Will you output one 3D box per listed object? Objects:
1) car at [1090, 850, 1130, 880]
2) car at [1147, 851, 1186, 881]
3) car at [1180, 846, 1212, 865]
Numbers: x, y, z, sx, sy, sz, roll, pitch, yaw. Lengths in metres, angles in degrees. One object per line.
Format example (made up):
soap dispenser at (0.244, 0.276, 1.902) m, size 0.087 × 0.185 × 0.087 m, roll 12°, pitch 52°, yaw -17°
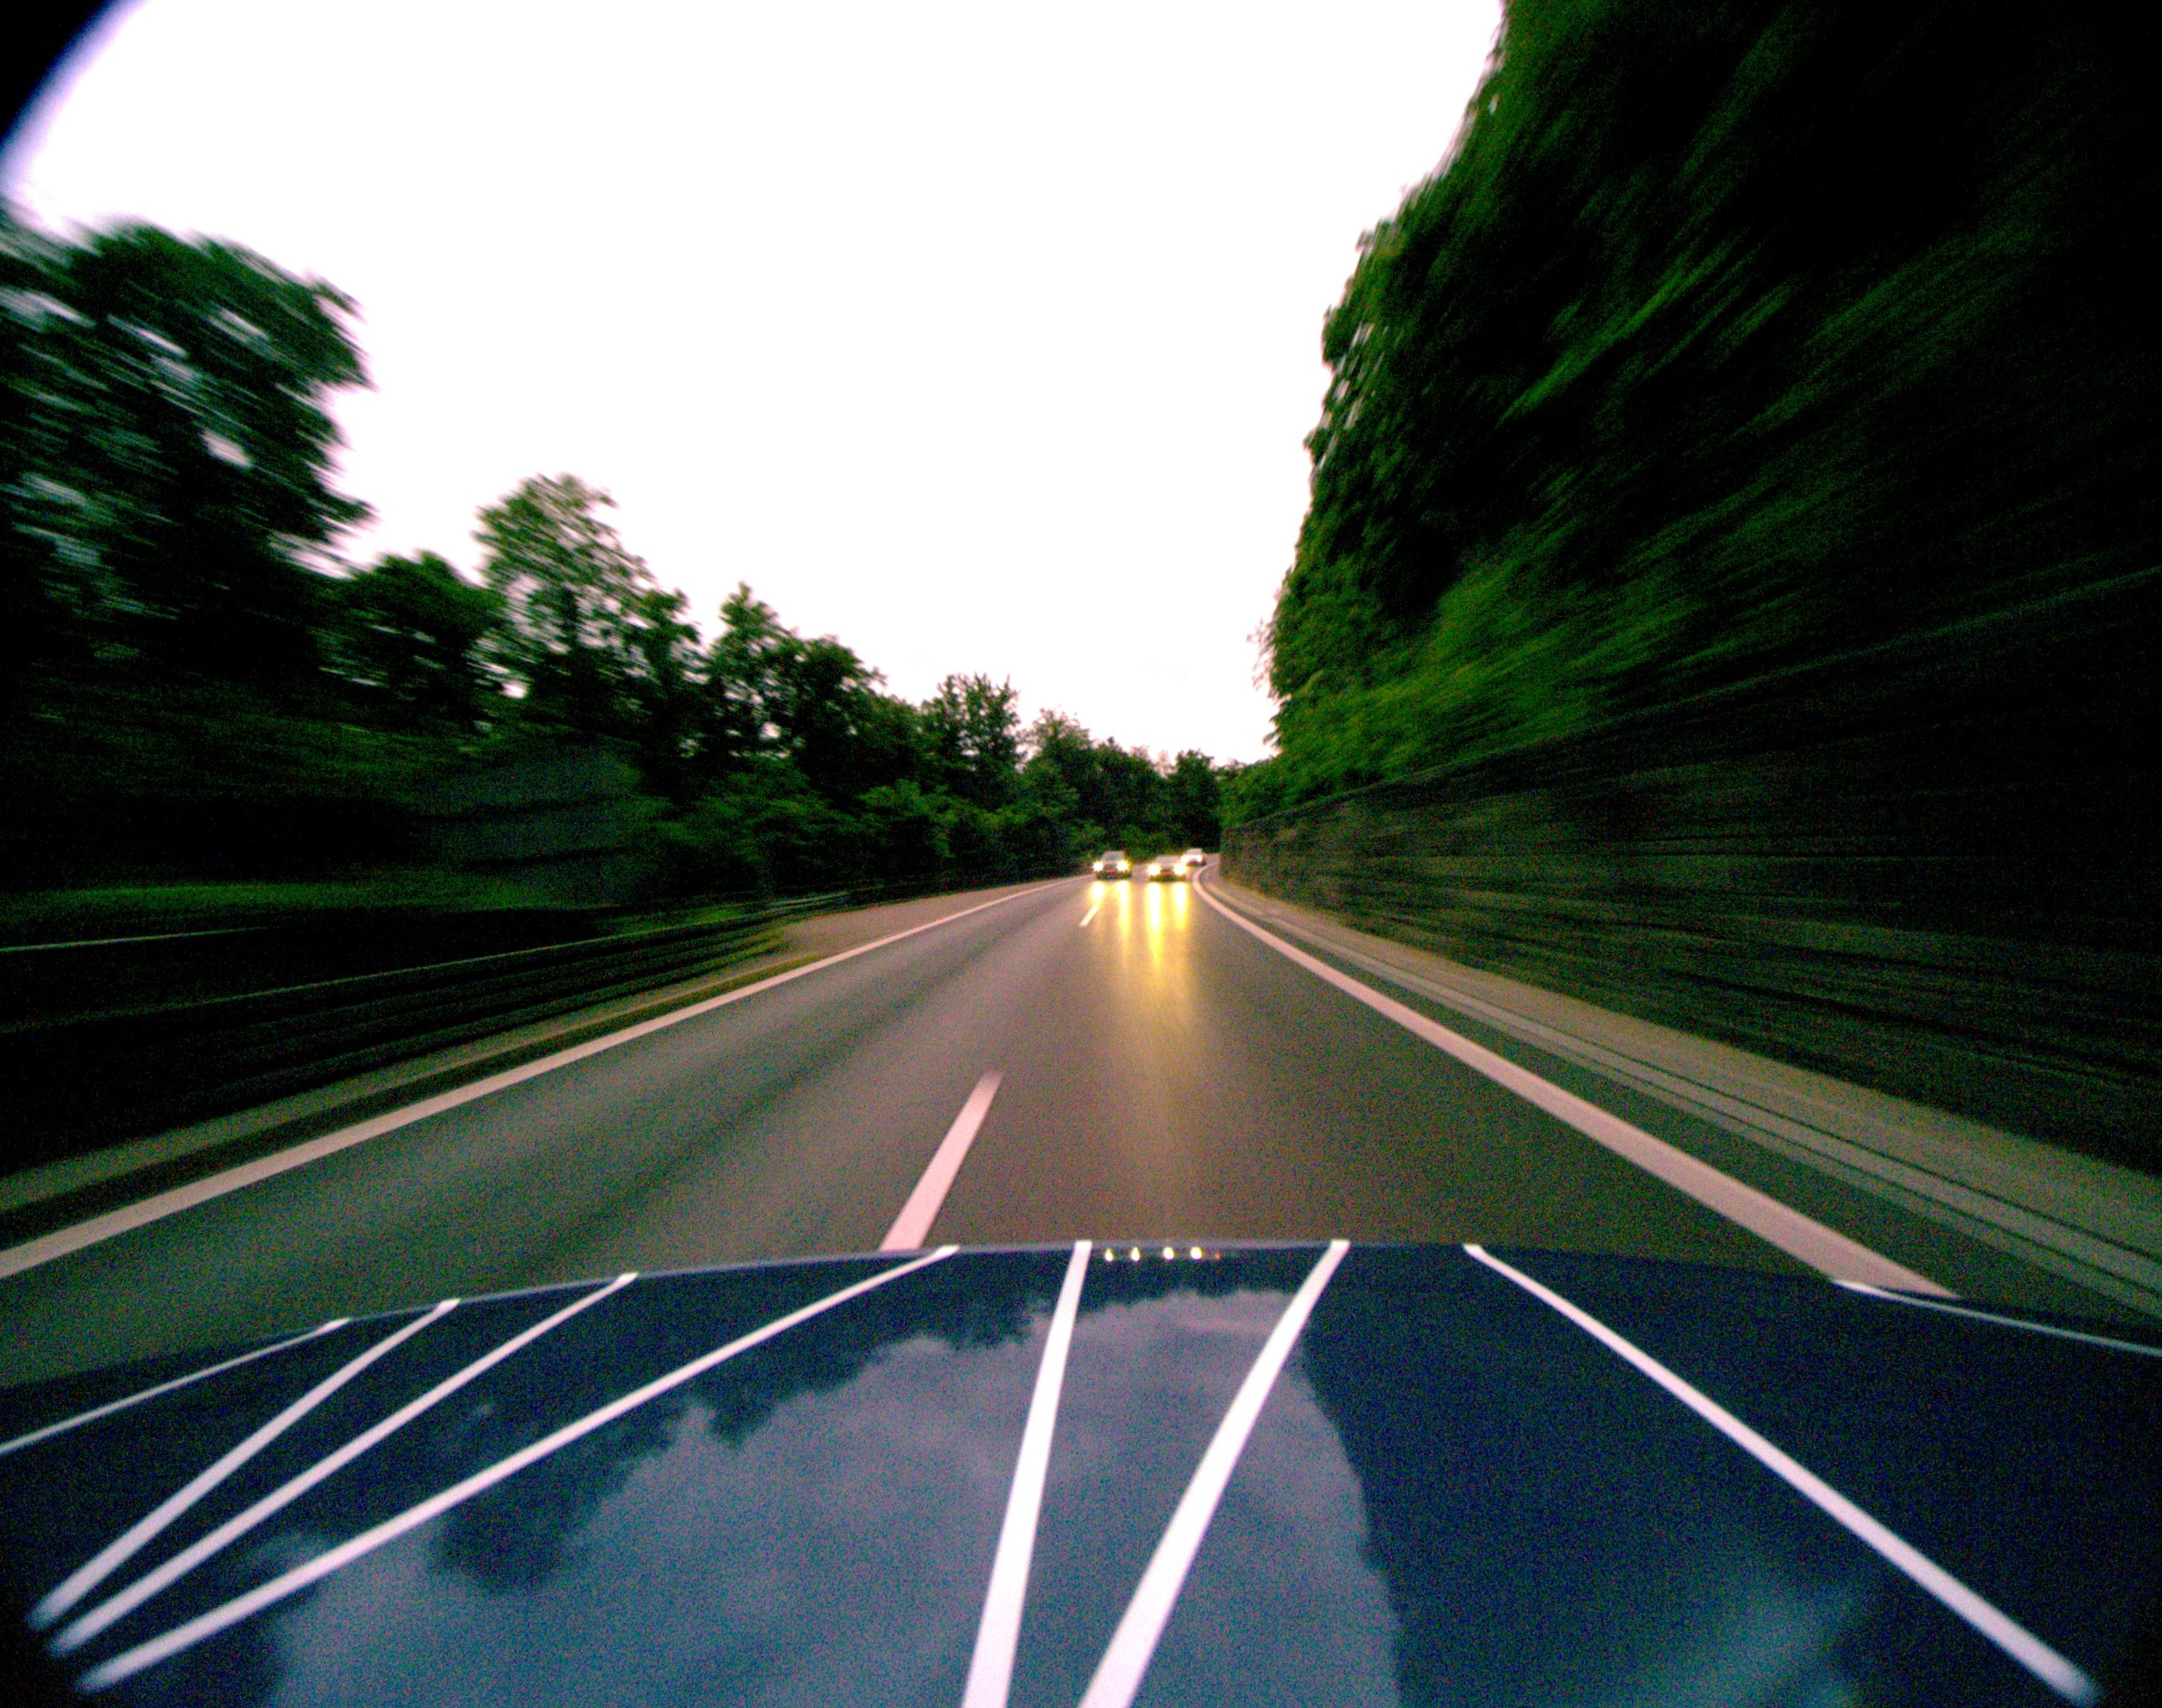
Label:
car at (1.827, 0.628, 46.307) m, size 1.997 × 1.631 × 4.001 m, roll -1°, pitch 1°, yaw 8°
car at (4.661, 0.633, 41.759) m, size 1.998 × 1.499 × 4.001 m, roll -1°, pitch 0°, yaw 5°
car at (10.310, 0.126, 67.846) m, size 1.996 × 1.499 × 4.004 m, roll -4°, pitch 1°, yaw 19°
